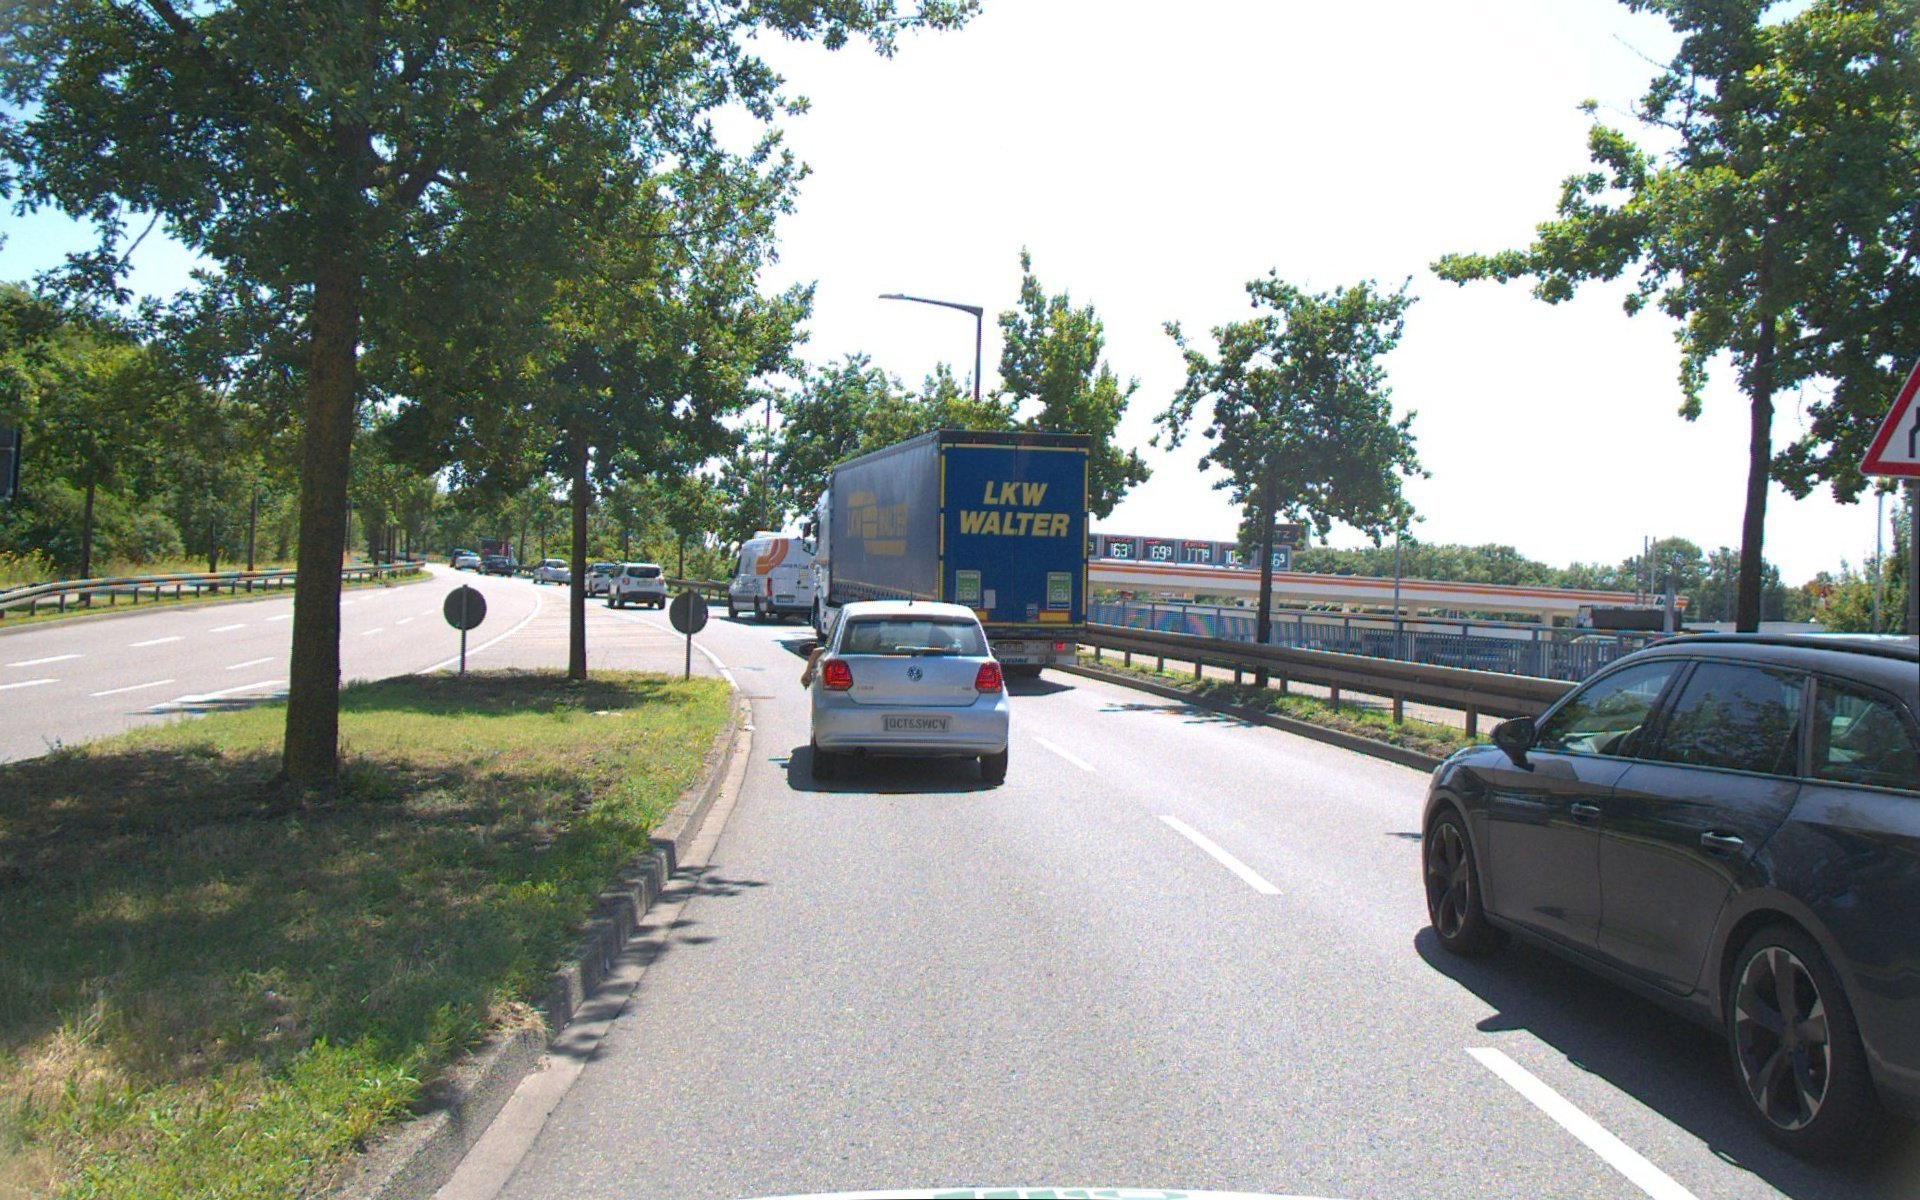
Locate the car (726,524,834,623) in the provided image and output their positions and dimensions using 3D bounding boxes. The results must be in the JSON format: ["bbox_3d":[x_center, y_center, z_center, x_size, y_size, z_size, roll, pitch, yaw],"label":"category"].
[{"bbox_3d":[-5.967,-0.887,53.933,2.142,2.951,6.325,2,1,-18],"label":"car"}]

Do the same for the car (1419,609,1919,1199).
[{"bbox_3d":[3.089,0.809,5.758,1.573,1.481,4.232,2,-1,-3],"label":"car"}]

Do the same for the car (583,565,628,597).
[{"bbox_3d":[-16.154,-0.856,75.235,1.473,1.384,3.640,2,0,-20],"label":"car"}]

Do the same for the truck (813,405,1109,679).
[{"bbox_3d":[-0.675,-0.933,34.466,2.783,4.272,16.426,2,0,-12],"label":"truck"}]

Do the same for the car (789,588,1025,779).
[{"bbox_3d":[-0.583,0.684,14.748,1.616,1.464,3.529,2,-1,-10],"label":"car"}]

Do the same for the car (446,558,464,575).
[{"bbox_3d":[-43.580,-2.871,142.790,1.394,1.337,3.322,2,-1,-16],"label":"car"}]

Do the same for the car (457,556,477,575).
[{"bbox_3d":[-38.366,-2.678,128.747,1.433,1.337,3.621,2,-1,-16],"label":"car"}]

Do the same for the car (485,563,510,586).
[{"bbox_3d":[-32.194,-1.755,115.107,1.638,1.491,3.565,2,-1,-16],"label":"car"}]

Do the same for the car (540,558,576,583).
[{"bbox_3d":[-23.545,-1.710,96.819,1.584,1.384,3.641,2,0,-20],"label":"car"}]

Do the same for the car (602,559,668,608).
[{"bbox_3d":[-12.396,-0.590,62.859,1.875,1.748,4.200,2,-1,-19],"label":"car"}]
